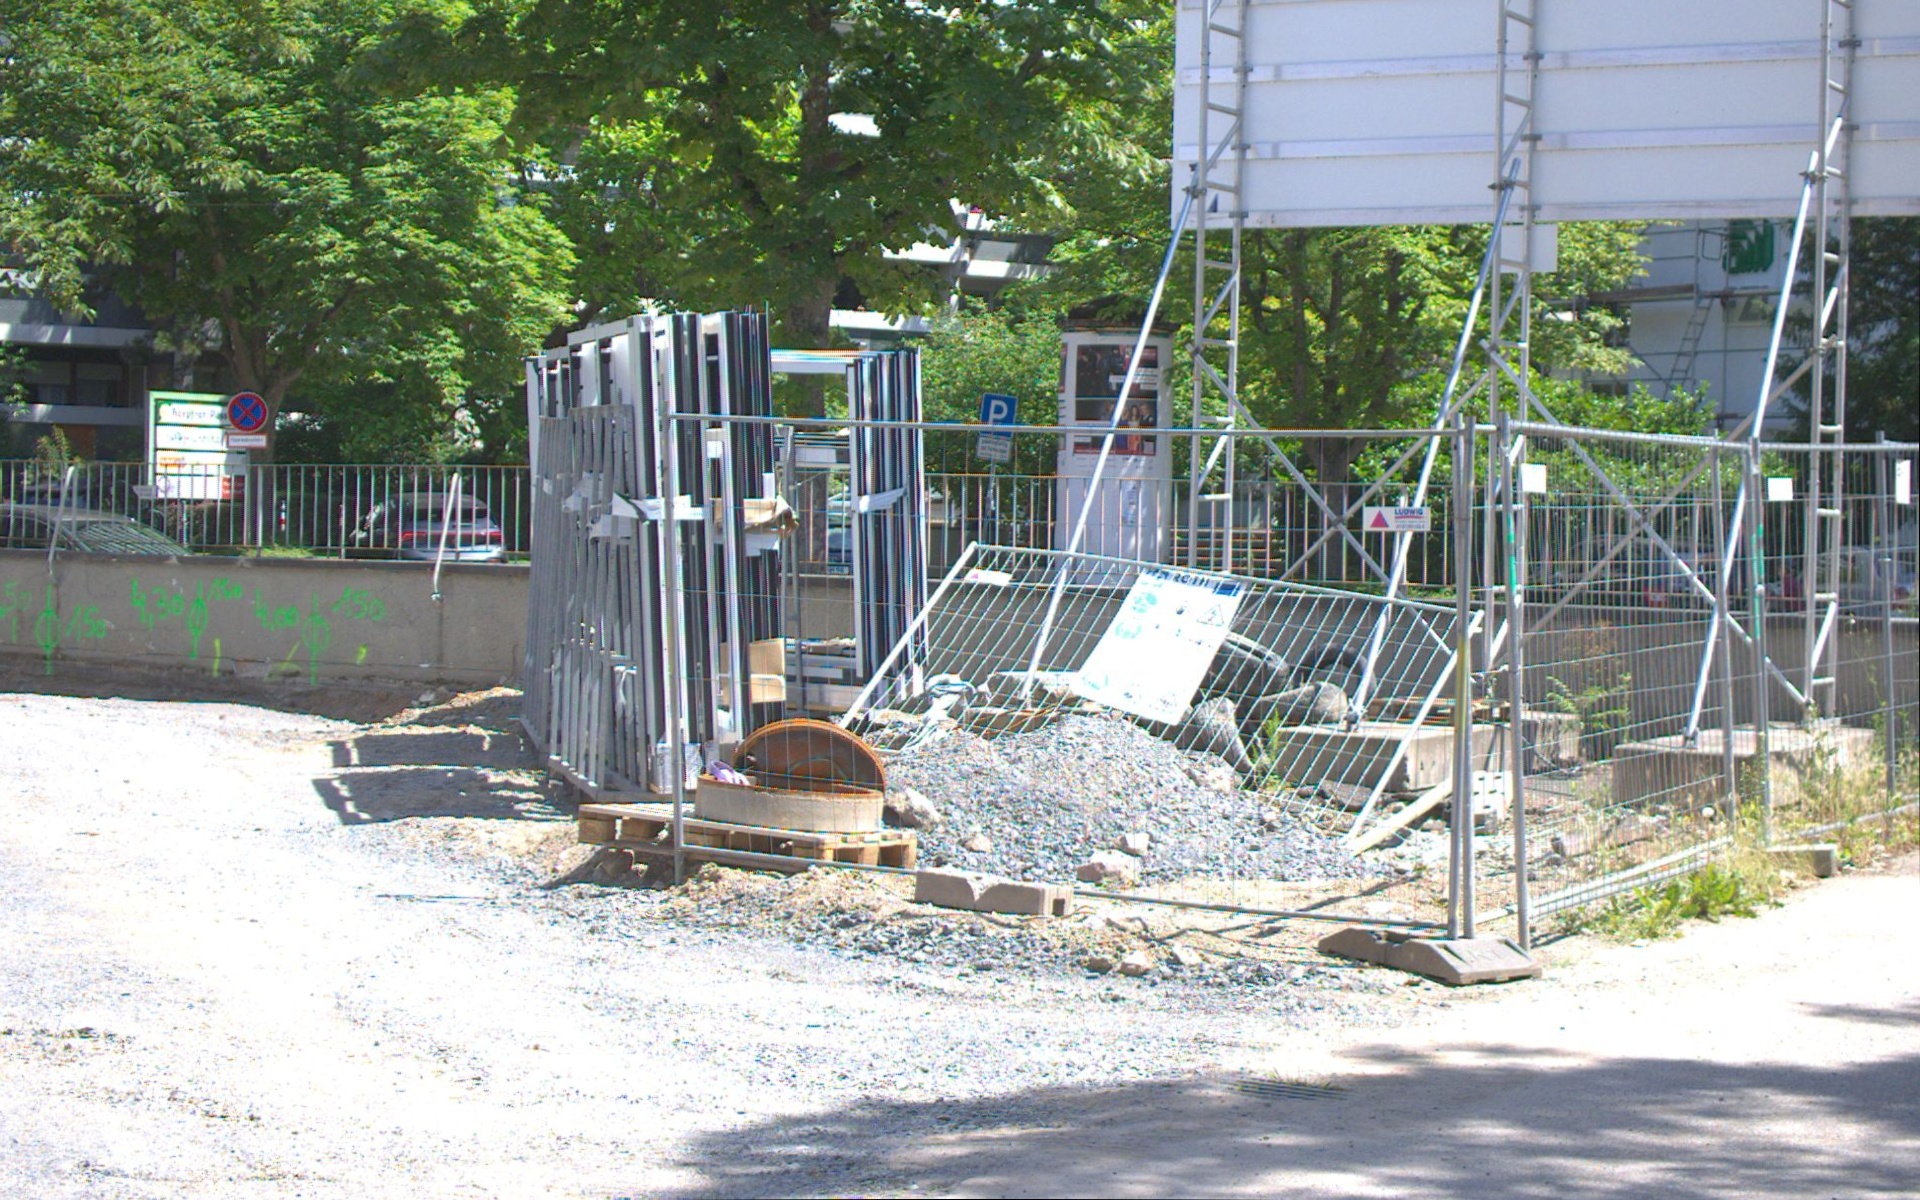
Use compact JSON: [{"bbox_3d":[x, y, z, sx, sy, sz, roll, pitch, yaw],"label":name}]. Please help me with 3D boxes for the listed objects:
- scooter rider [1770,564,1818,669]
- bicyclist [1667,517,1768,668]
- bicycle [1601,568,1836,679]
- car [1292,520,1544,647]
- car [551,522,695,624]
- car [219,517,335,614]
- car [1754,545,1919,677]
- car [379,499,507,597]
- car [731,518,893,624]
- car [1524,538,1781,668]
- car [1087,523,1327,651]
[{"bbox_3d":[9.064,0.174,37.357,0.416,1.130,0.358,2,1,26],"label":"scooter rider"},{"bbox_3d":[8.517,-0.091,38.619,0.899,1.660,0.857,2,1,26],"label":"bicyclist"},{"bbox_3d":[8.514,0.251,38.628,2.435,1.148,0.785,2,2,25],"label":"bicycle"},{"bbox_3d":[5.613,-0.229,42.522,1.632,1.458,3.679,1,1,-18],"label":"car"},{"bbox_3d":[-4.911,-0.413,49.696,1.632,1.382,3.679,1,1,-12],"label":"car"},{"bbox_3d":[-10.349,-0.544,51.926,1.632,1.382,3.679,1,1,-12],"label":"car"},{"bbox_3d":[11.007,0.108,40.671,1.632,1.458,3.679,1,1,-14],"label":"car"},{"bbox_3d":[-7.772,-0.797,51.504,1.632,1.382,3.679,1,1,-12],"label":"car"},{"bbox_3d":[-2.095,-0.423,47.786,1.632,1.382,3.679,1,1,-12],"label":"car"},{"bbox_3d":[8.352,0.001,41.765,1.632,1.458,3.679,1,1,-14],"label":"car"},{"bbox_3d":[2.966,-0.190,42.001,1.632,1.458,3.679,1,1,-18],"label":"car"}]
